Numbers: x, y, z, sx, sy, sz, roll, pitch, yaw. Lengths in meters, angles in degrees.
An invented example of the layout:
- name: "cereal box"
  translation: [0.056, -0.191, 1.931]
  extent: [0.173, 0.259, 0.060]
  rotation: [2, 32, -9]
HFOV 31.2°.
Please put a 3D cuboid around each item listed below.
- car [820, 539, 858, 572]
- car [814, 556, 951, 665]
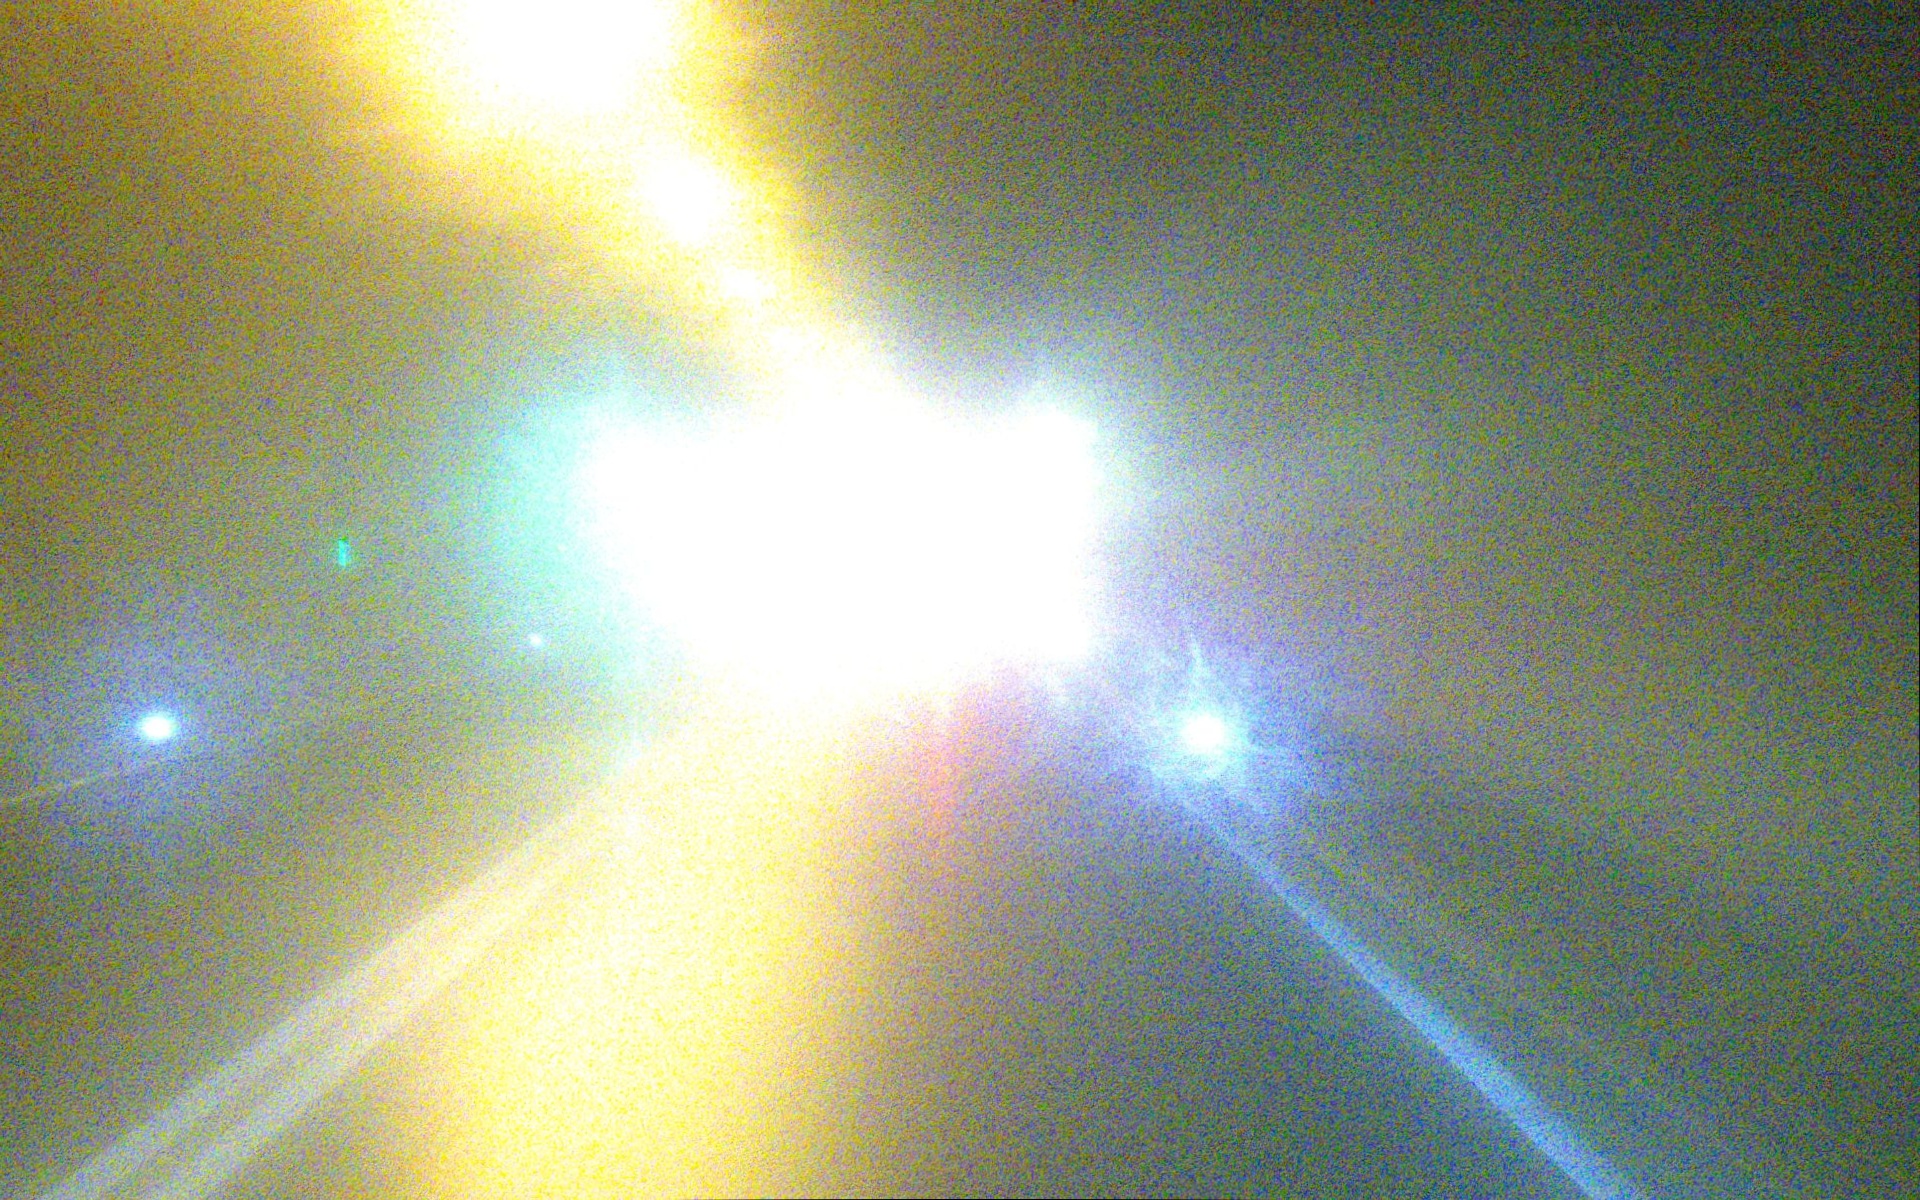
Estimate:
- name: "car"
  translation: [-5.594, -2.084, 159.403]
  extent: [1.690, 1.500, 3.745]
  rotation: [0, 1, -2]
- name: "car"
  translation: [-1.234, 0.144, 54.639]
  extent: [2.089, 1.656, 4.000]
  rotation: [0, 1, -1]
